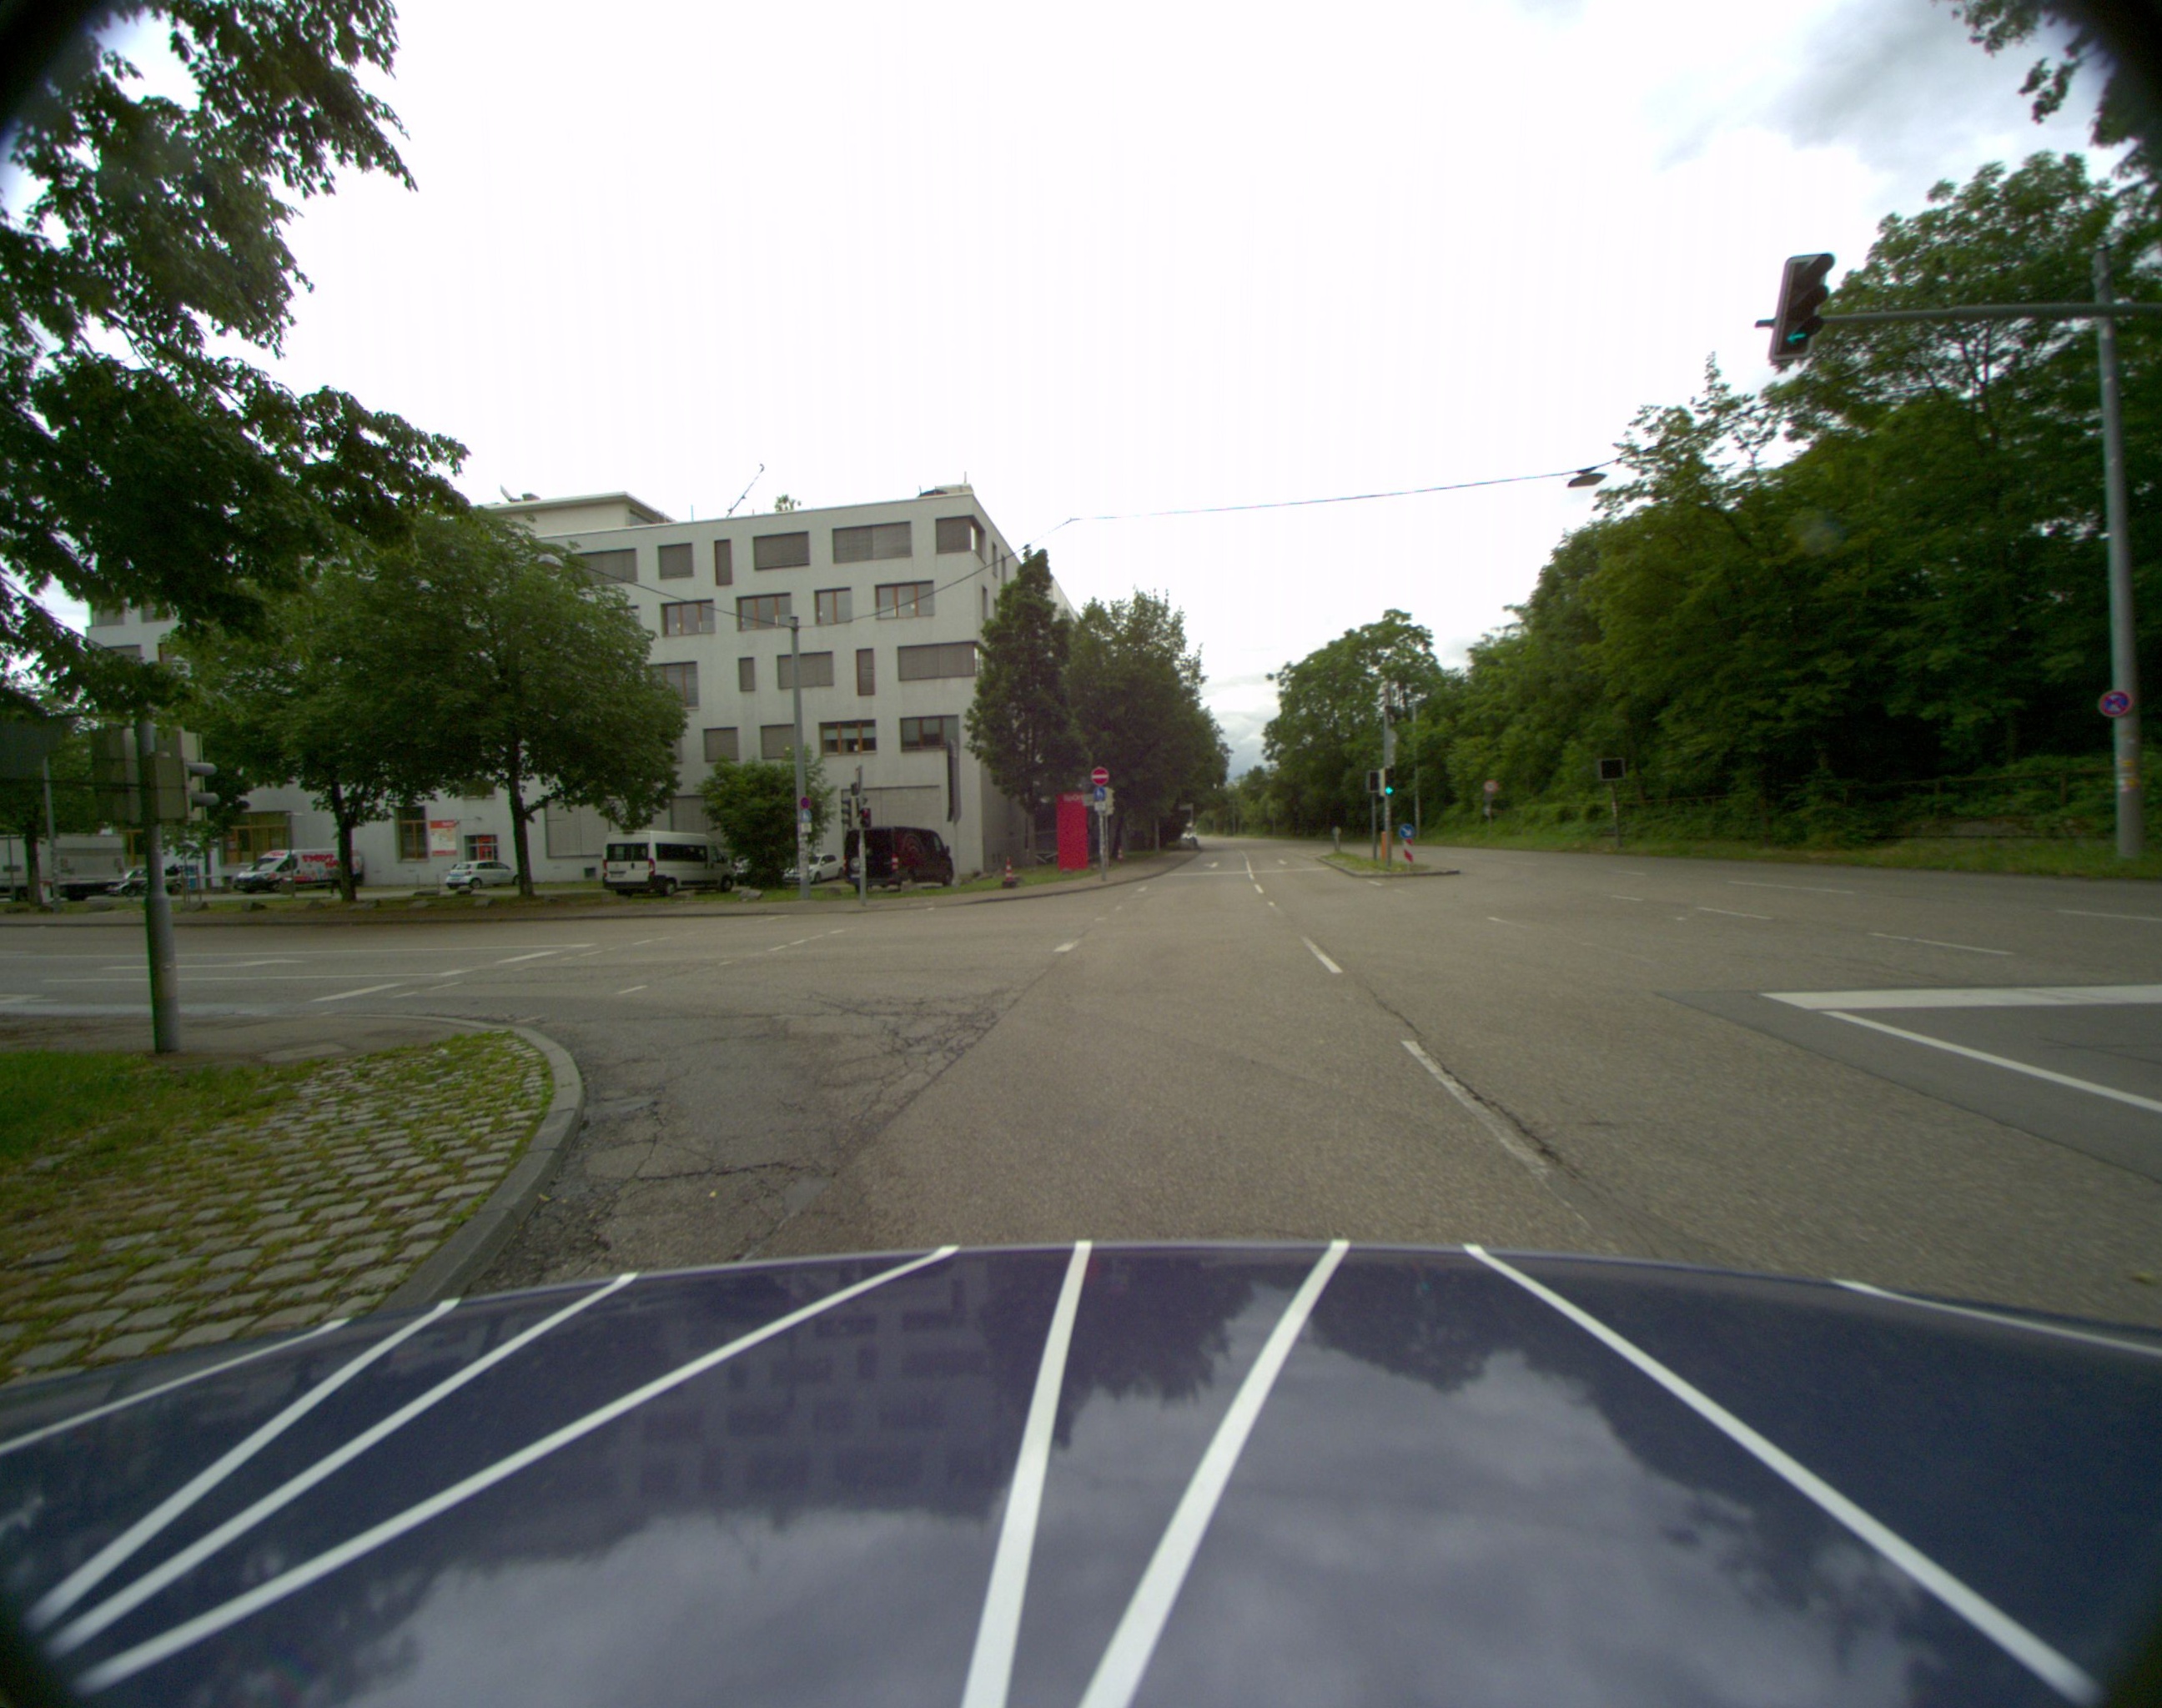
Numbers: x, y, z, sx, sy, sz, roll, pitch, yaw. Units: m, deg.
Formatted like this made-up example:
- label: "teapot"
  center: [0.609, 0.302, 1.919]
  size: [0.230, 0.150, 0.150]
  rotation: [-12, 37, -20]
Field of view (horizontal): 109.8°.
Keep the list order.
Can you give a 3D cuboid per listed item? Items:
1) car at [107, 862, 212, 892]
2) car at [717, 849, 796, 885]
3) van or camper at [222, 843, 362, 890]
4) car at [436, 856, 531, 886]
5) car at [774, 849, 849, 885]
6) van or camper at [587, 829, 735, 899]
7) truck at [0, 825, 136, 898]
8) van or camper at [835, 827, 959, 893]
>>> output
- label: "car"
  center: [-56.971, 1.408, 47.045]
  size: [1.652, 1.638, 3.705]
  rotation: [-1, 2, 13]
- label: "car"
  center: [-16.986, 0.647, 40.002]
  size: [1.841, 1.521, 4.082]
  rotation: [-2, 3, 9]
- label: "van or camper"
  center: [-46.567, 0.673, 45.053]
  size: [2.254, 2.413, 5.271]
  rotation: [-2, 2, 9]
- label: "car"
  center: [-33.918, 0.947, 43.283]
  size: [1.712, 1.411, 4.014]
  rotation: [-1, 2, 11]
- label: "car"
  center: [-14.037, 0.624, 39.802]
  size: [1.855, 1.452, 4.076]
  rotation: [-2, 4, 9]
- label: "van or camper"
  center: [-15.985, 0.314, 29.335]
  size: [2.154, 2.409, 5.189]
  rotation: [-2, 1, 9]
- label: "truck"
  center: [-55.369, 0.445, 40.432]
  size: [7.828, 3.595, 2.651]
  rotation: [-2, 0, 8]
- label: "van or camper"
  center: [-6.517, 0.198, 27.786]
  size: [2.166, 2.097, 5.649]
  rotation: [-2, 0, 11]
